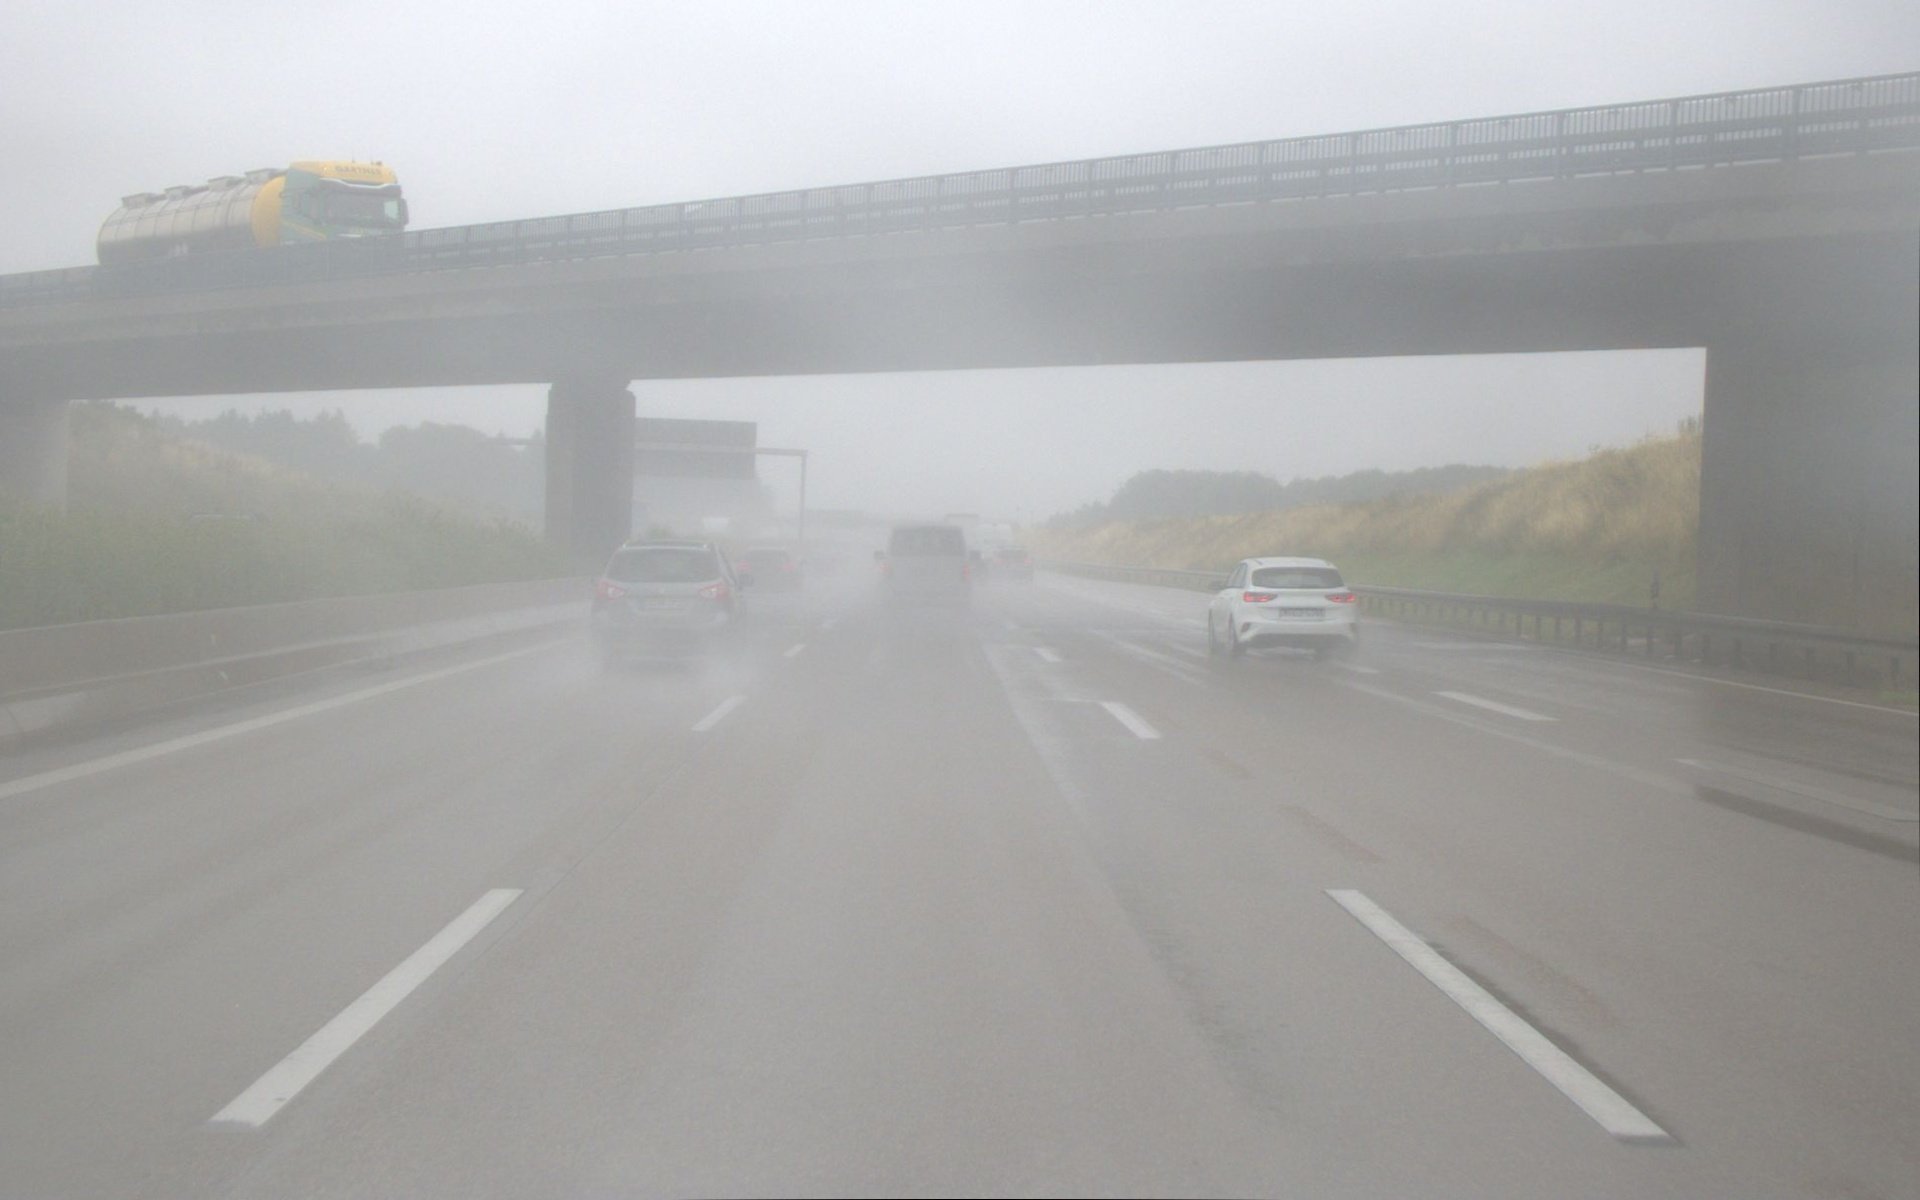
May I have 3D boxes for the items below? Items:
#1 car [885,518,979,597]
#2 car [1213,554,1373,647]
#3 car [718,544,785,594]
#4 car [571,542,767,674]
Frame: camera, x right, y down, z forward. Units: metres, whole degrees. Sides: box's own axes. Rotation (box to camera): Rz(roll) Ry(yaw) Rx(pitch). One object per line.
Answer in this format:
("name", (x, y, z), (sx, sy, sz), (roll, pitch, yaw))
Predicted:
("car", (-0.591, -0.882, 72.213), (1.897, 1.580, 4.000), (1, 0, 0))
("car", (4.766, -0.006, 49.673), (1.993, 1.262, 4.000), (1, 0, 1))
("car", (-5.862, -0.881, 96.982), (1.689, 1.349, 4.000), (1, 0, -1))
("car", (-3.507, 0.063, 42.265), (1.846, 1.508, 4.756), (1, 1, 2))
